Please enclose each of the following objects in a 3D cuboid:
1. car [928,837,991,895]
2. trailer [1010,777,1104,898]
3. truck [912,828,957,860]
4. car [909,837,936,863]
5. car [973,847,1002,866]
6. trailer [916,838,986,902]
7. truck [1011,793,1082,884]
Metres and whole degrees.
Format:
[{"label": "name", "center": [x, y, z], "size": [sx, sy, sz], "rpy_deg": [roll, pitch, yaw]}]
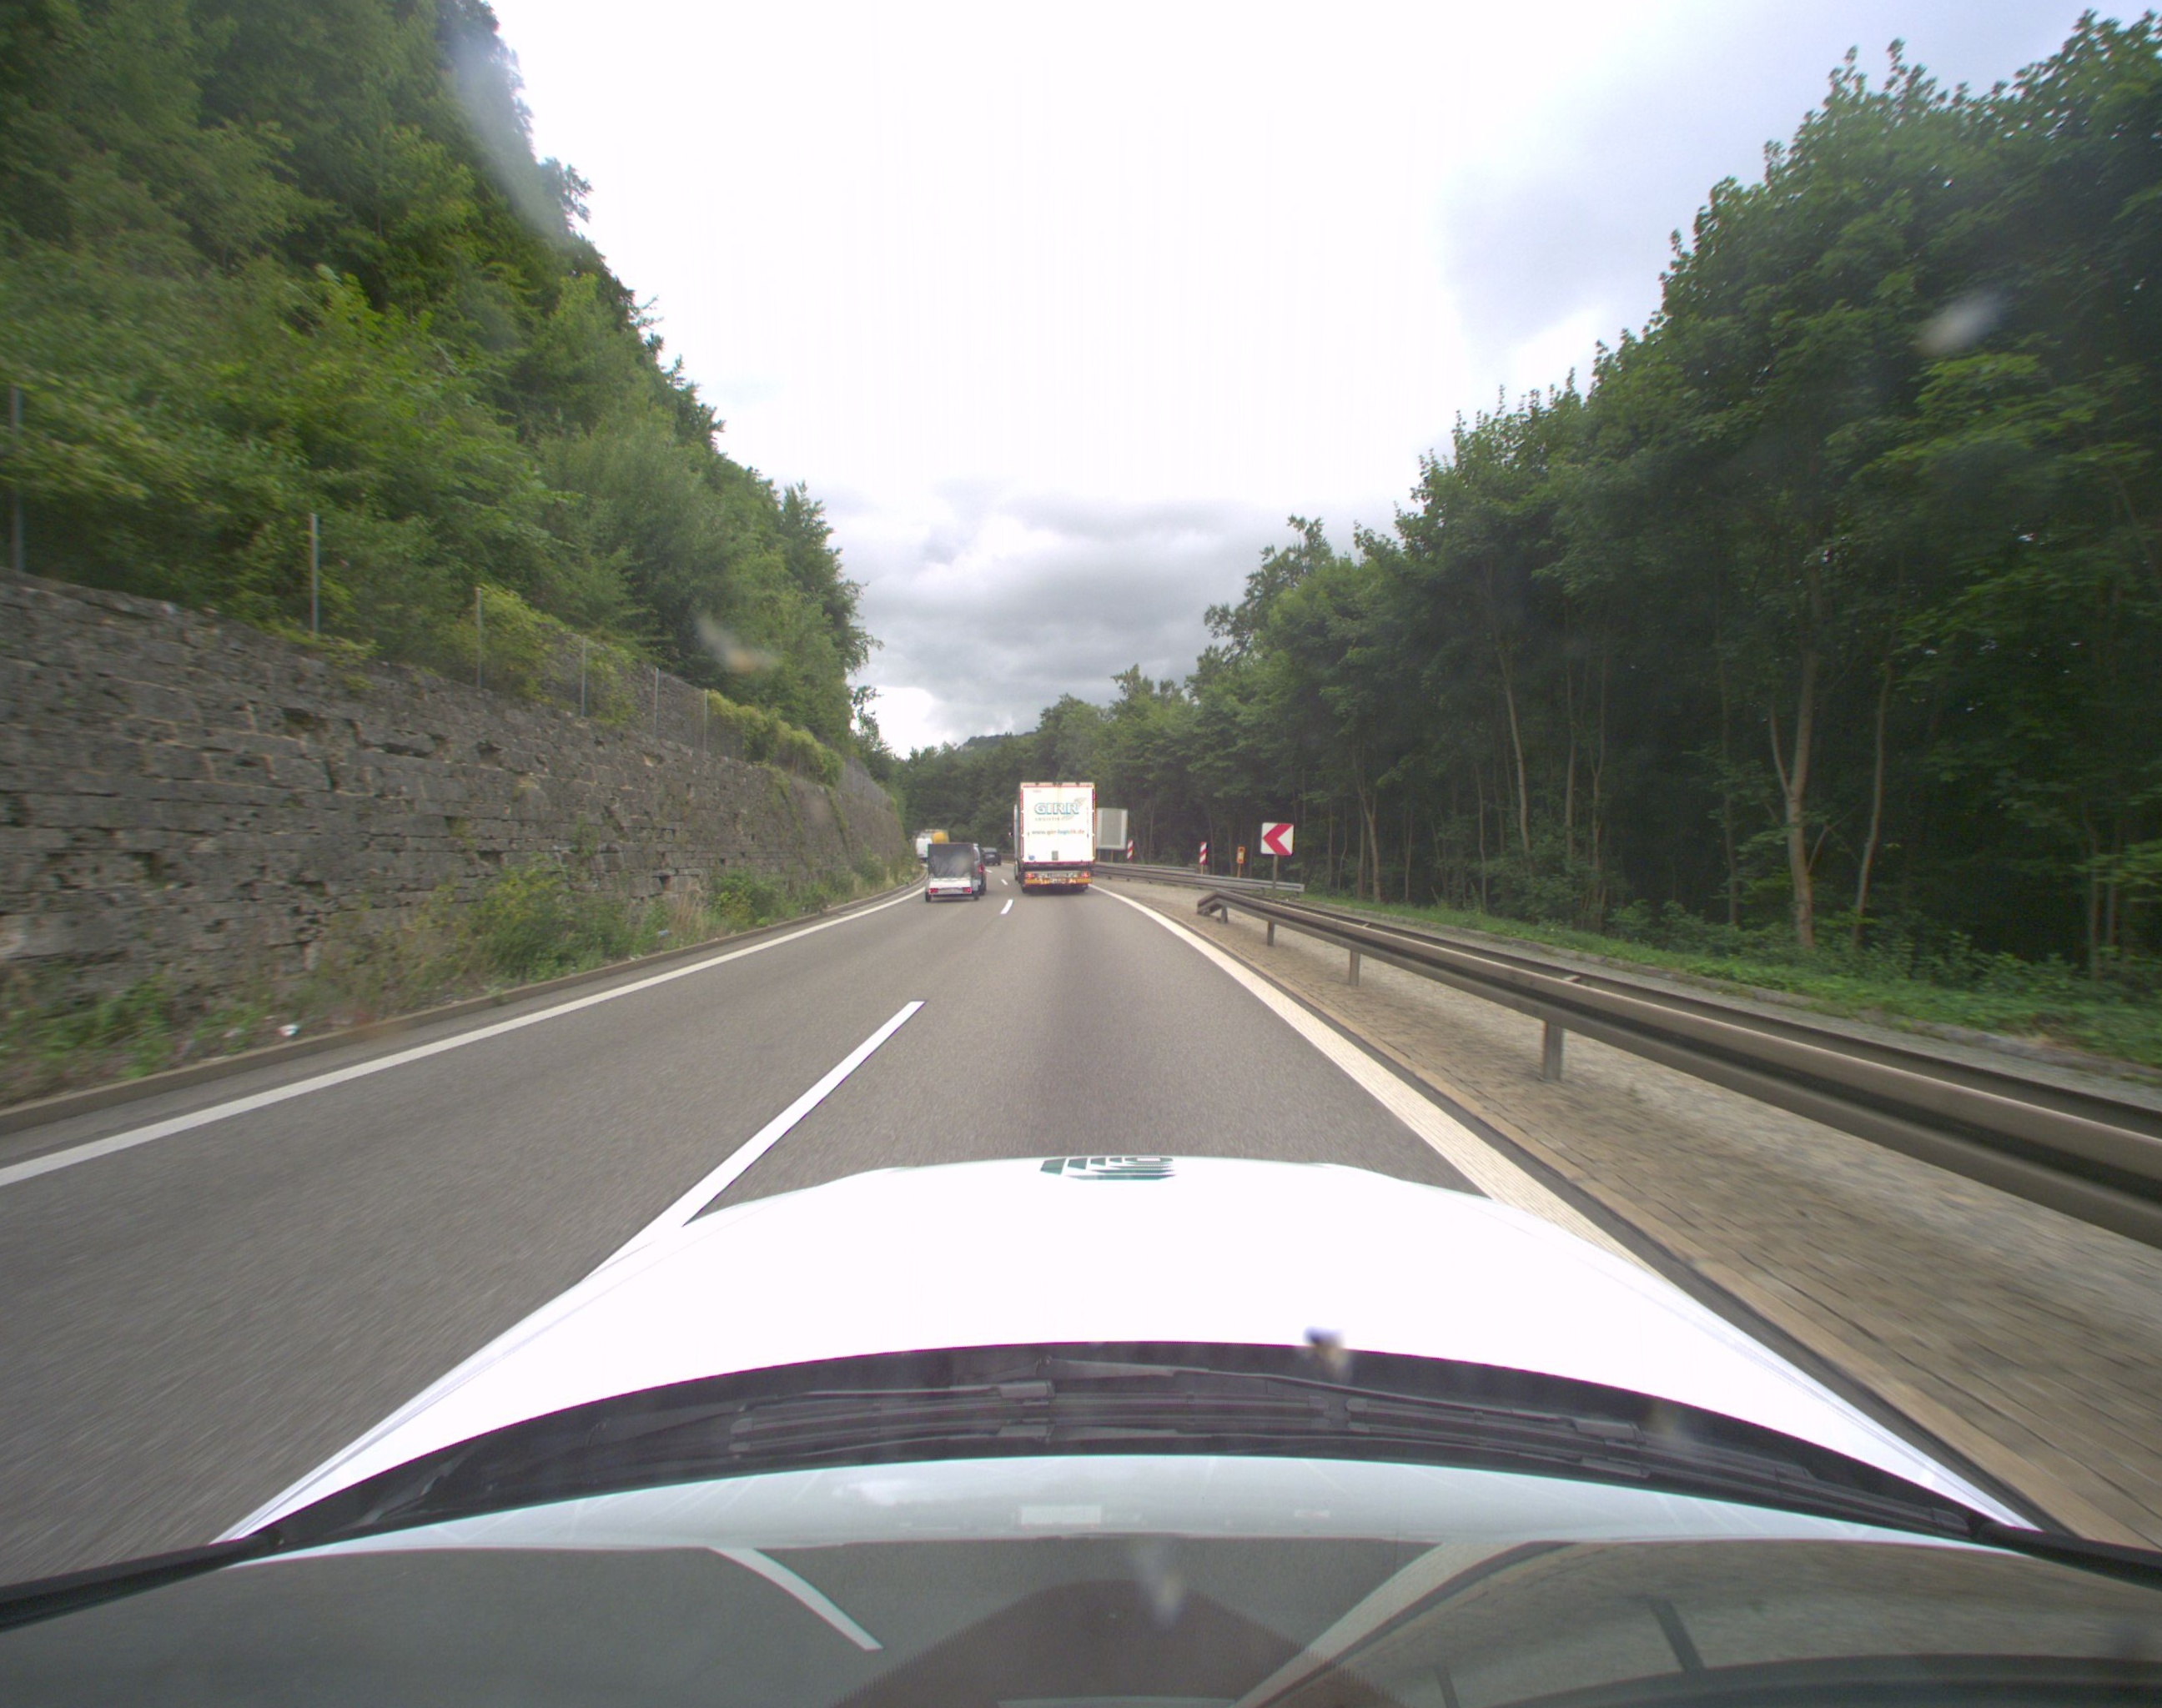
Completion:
[{"label": "car", "center": [-4.578, 0.421, 31.387], "size": [1.990, 2.013, 5.531], "rpy_deg": [-1, 0, -4]}, {"label": "trailer", "center": [-1.293, -0.734, 33.613], "size": [3.052, 3.985, 12.118], "rpy_deg": [2, 2, -5]}, {"label": "truck", "center": [-19.747, -1.268, 109.233], "size": [3.070, 3.986, 13.595], "rpy_deg": [-2, 1, -22]}, {"label": "car", "center": [-17.626, -0.495, 90.436], "size": [1.994, 2.672, 6.893], "rpy_deg": [2, 0, -18]}, {"label": "car", "center": [-8.377, 0.207, 72.601], "size": [1.996, 1.662, 3.981], "rpy_deg": [1, 0, -14]}, {"label": "trailer", "center": [-4.230, 0.491, 26.931], "size": [1.967, 1.939, 3.425], "rpy_deg": [-1, 0, -5]}, {"label": "truck", "center": [-1.850, -0.803, 39.995], "size": [3.052, 3.985, 7.176], "rpy_deg": [2, 2, -5]}]
